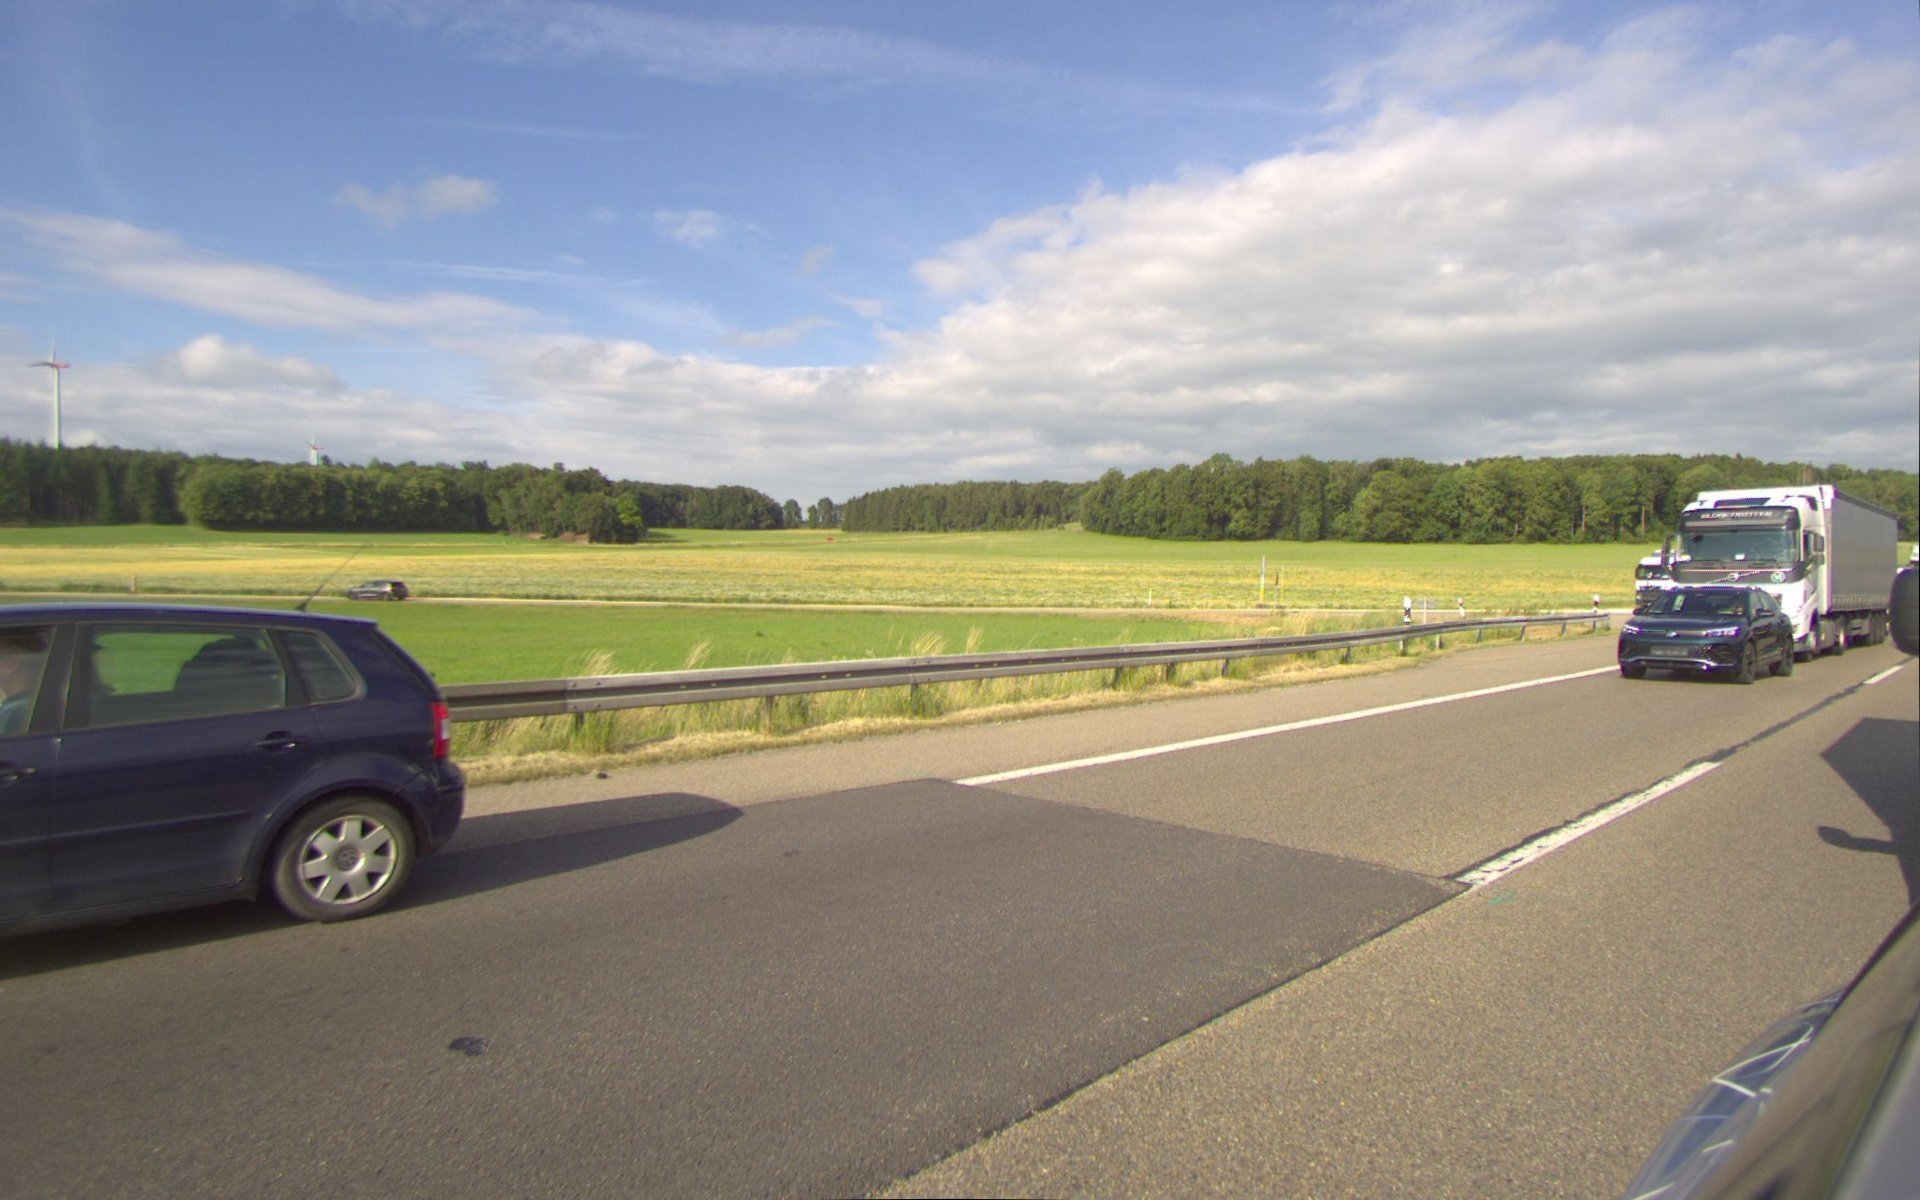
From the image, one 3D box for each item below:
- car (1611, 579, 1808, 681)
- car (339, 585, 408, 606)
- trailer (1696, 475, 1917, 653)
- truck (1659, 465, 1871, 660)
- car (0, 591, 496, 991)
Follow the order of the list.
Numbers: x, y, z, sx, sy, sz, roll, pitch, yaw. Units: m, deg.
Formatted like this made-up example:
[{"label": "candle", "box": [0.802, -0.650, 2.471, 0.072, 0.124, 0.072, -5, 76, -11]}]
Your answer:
[{"label": "car", "box": [13.429, 0.445, 18.065, 4.047, 1.616, 1.997, -1, 1, -41]}, {"label": "car", "box": [-41.915, -0.320, 72.384, 4.154, 1.505, 1.832, 0, 0, 11]}, {"label": "trailer", "box": [23.667, -0.882, 27.932, 11.916, 4.032, 2.824, -1, 0, -41]}, {"label": "truck", "box": [19.327, -0.822, 24.156, 6.387, 4.040, 2.840, -1, 0, -41]}, {"label": "car", "box": [-4.188, 0.705, 4.301, 3.710, 1.464, 1.712, -1, 1, -42]}]
